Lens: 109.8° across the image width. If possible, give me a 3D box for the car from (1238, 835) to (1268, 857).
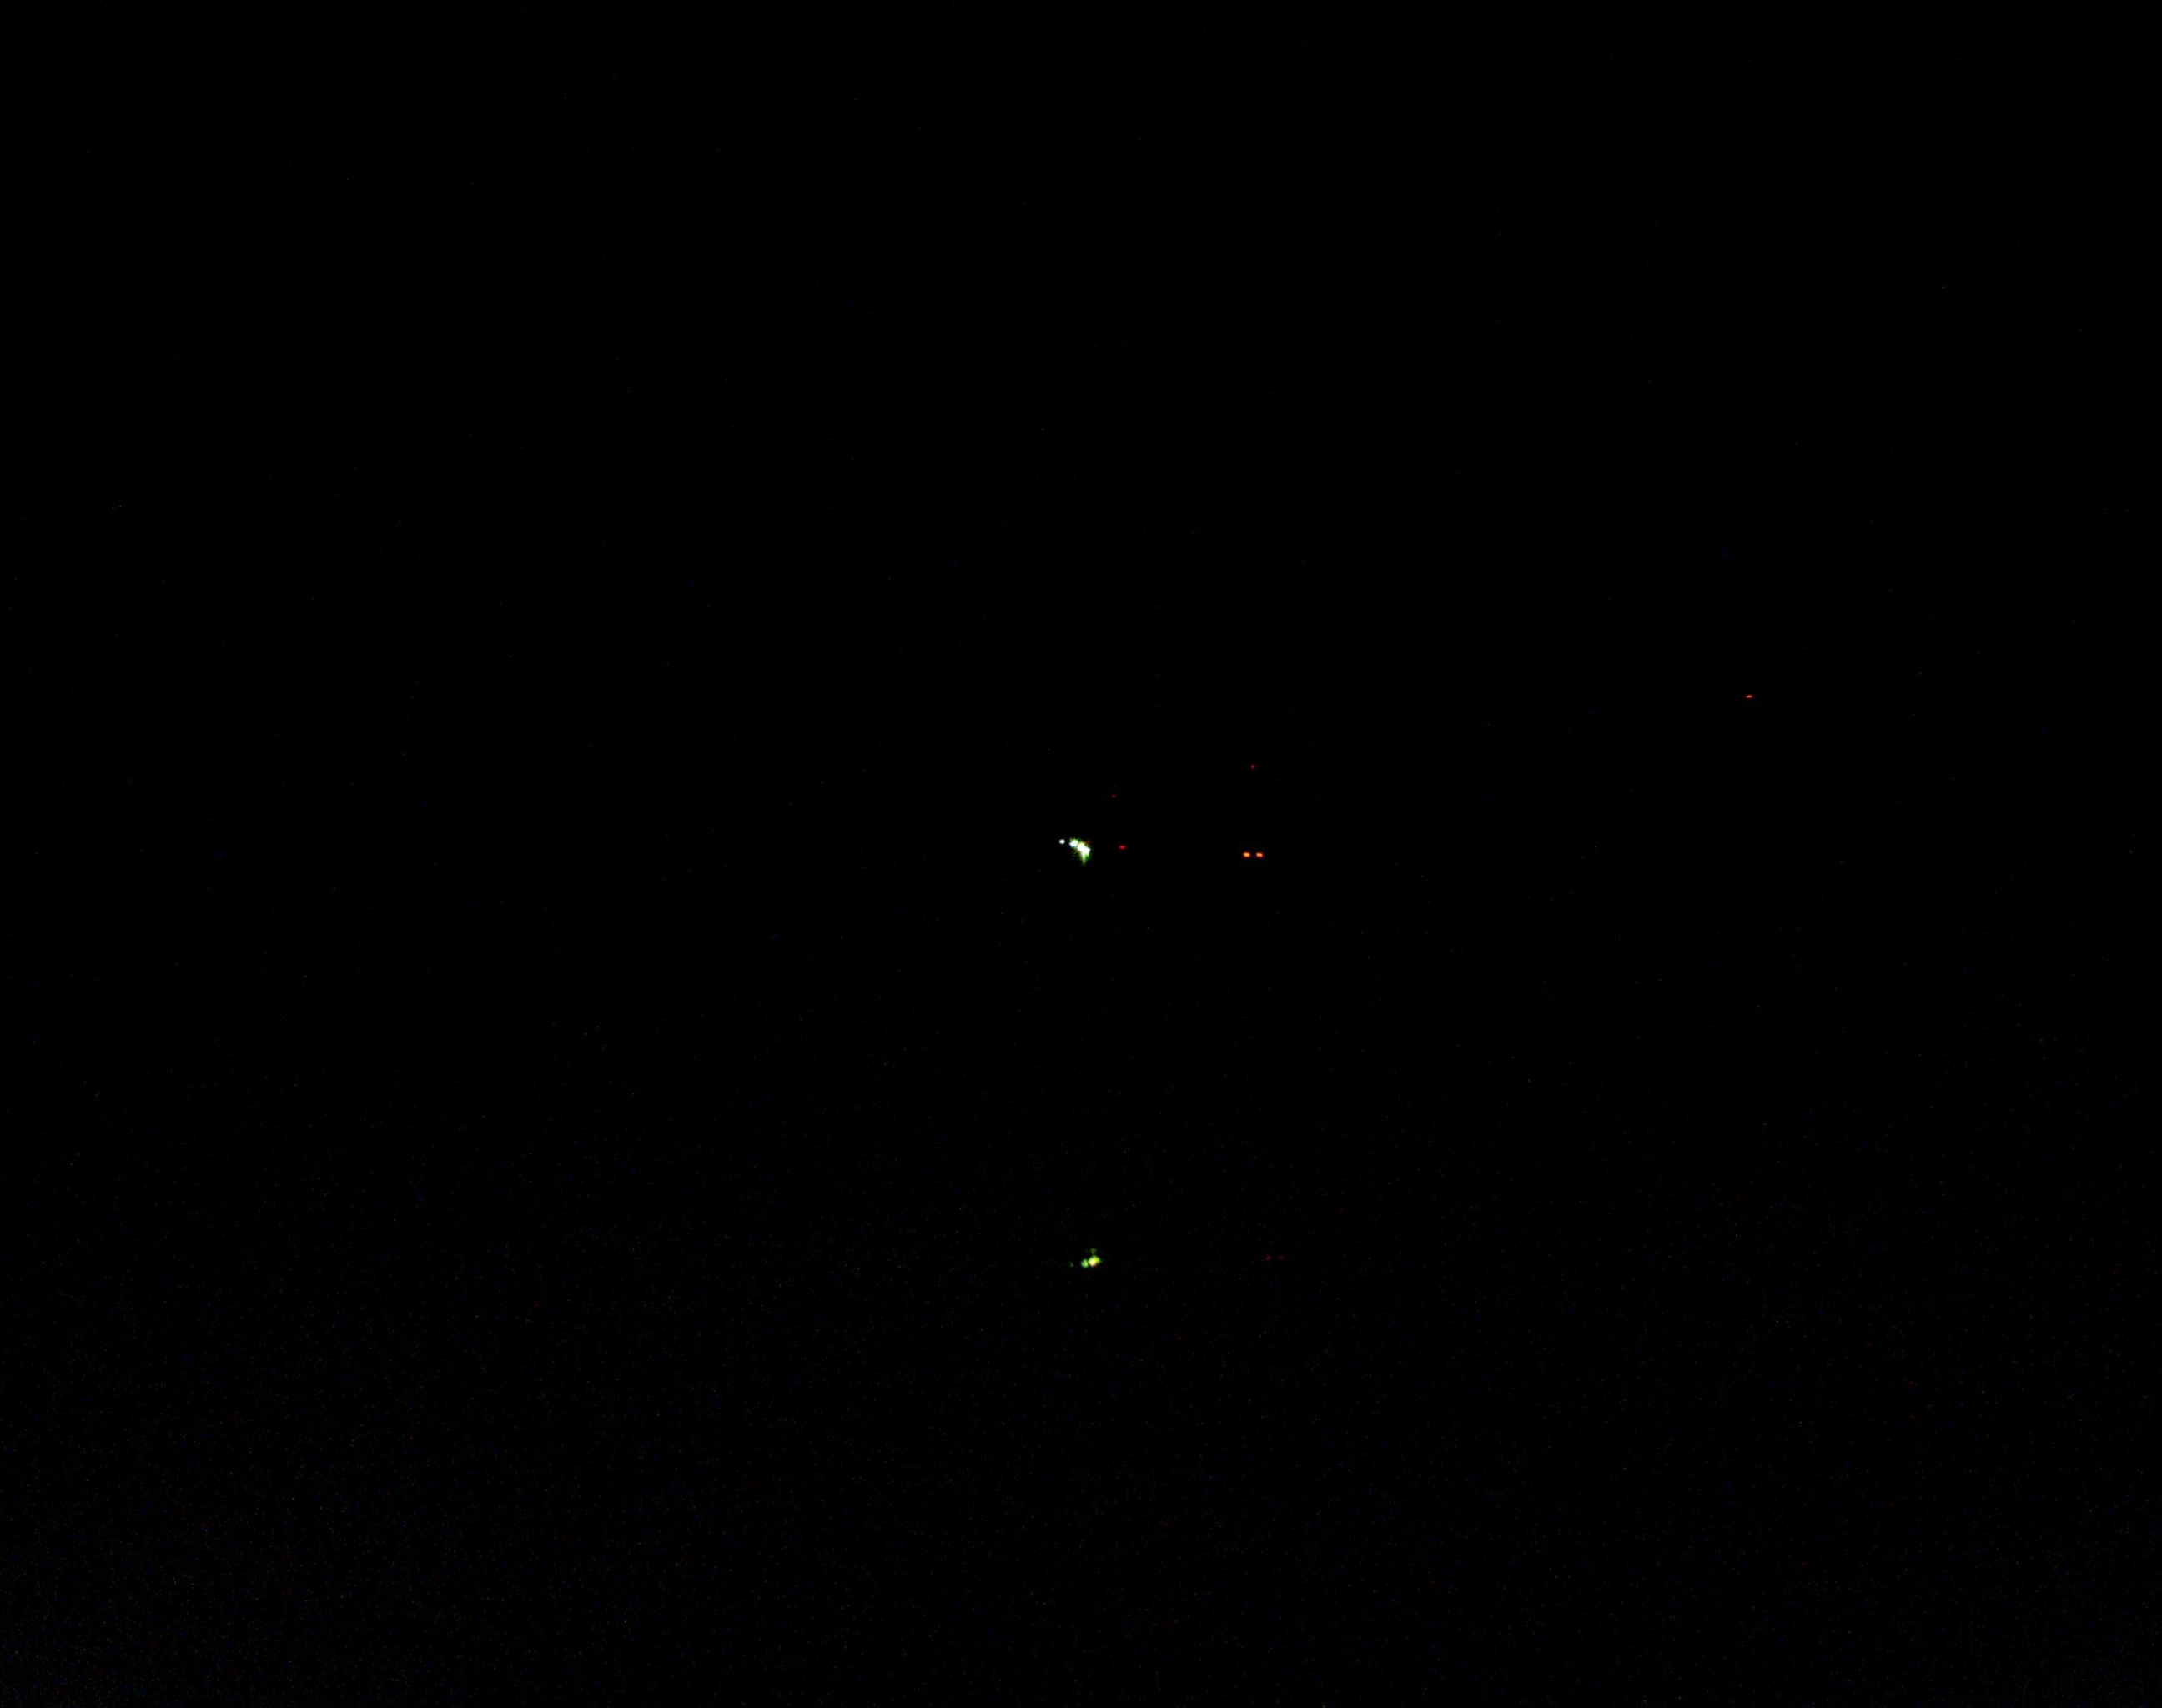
[{"bbox_3d":[24.450,-1.161,108.326,2.853,2.921,6.600,-2,1,1],"label":"car"}]
